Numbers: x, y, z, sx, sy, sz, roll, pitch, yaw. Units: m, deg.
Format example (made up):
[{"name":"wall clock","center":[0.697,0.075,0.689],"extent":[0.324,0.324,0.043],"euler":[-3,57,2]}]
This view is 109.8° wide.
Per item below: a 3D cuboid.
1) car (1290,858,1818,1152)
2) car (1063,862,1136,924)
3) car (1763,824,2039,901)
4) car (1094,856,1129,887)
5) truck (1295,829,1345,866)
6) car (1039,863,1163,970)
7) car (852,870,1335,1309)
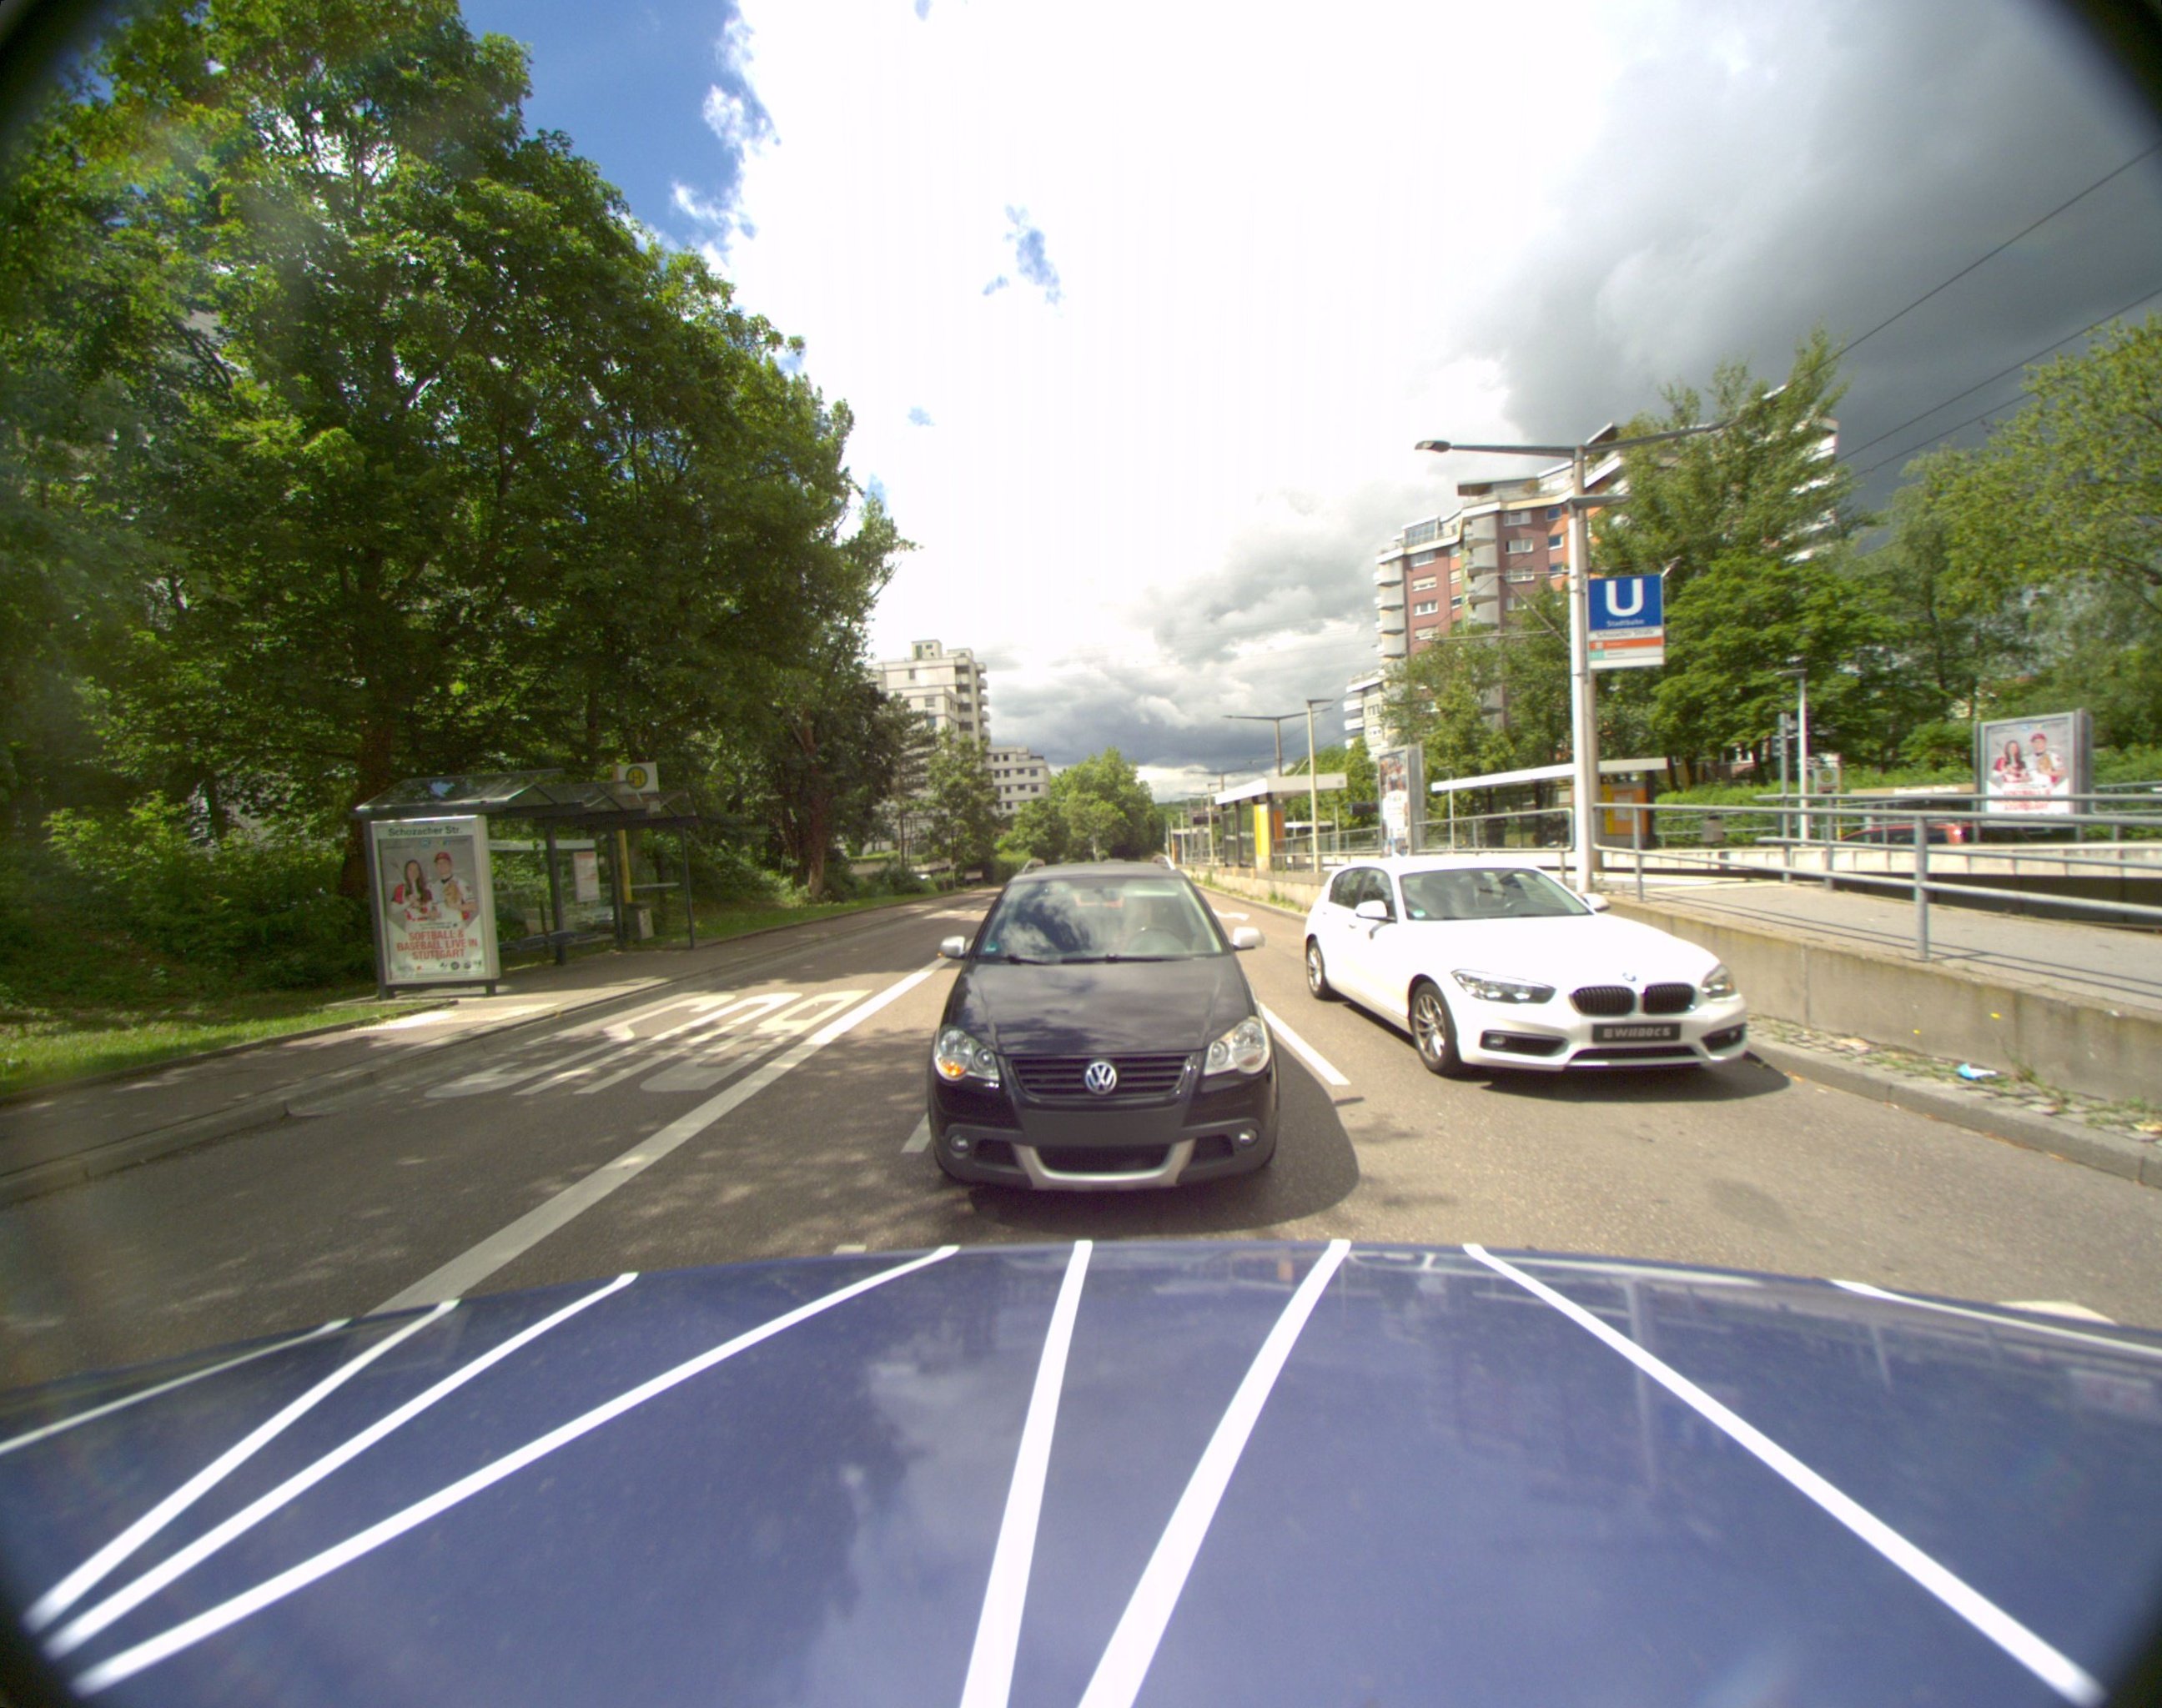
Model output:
[{"name":"car","center":[3.078,0.823,6.057],"extent":[1.732,1.453,4.000],"euler":[-2,1,1]},{"name":"car","center":[0.578,0.983,20.648],"extent":[1.732,1.452,4.001],"euler":[-2,0,3]},{"name":"car","center":[19.565,0.173,18.516],"extent":[1.998,1.625,4.461],"euler":[-1,0,2]},{"name":"car","center":[1.618,0.902,40.862],"extent":[1.732,1.505,4.000],"euler":[-2,1,1]},{"name":"truck","center":[22.242,-0.551,71.025],"extent":[2.420,3.203,7.263],"euler":[-2,0,1]},{"name":"car","center":[0.325,0.930,12.978],"extent":[1.732,1.453,4.000],"euler":[-2,0,1]},{"name":"car","center":[0.083,0.922,4.824],"extent":[1.732,1.501,4.000],"euler":[-2,0,1]}]
